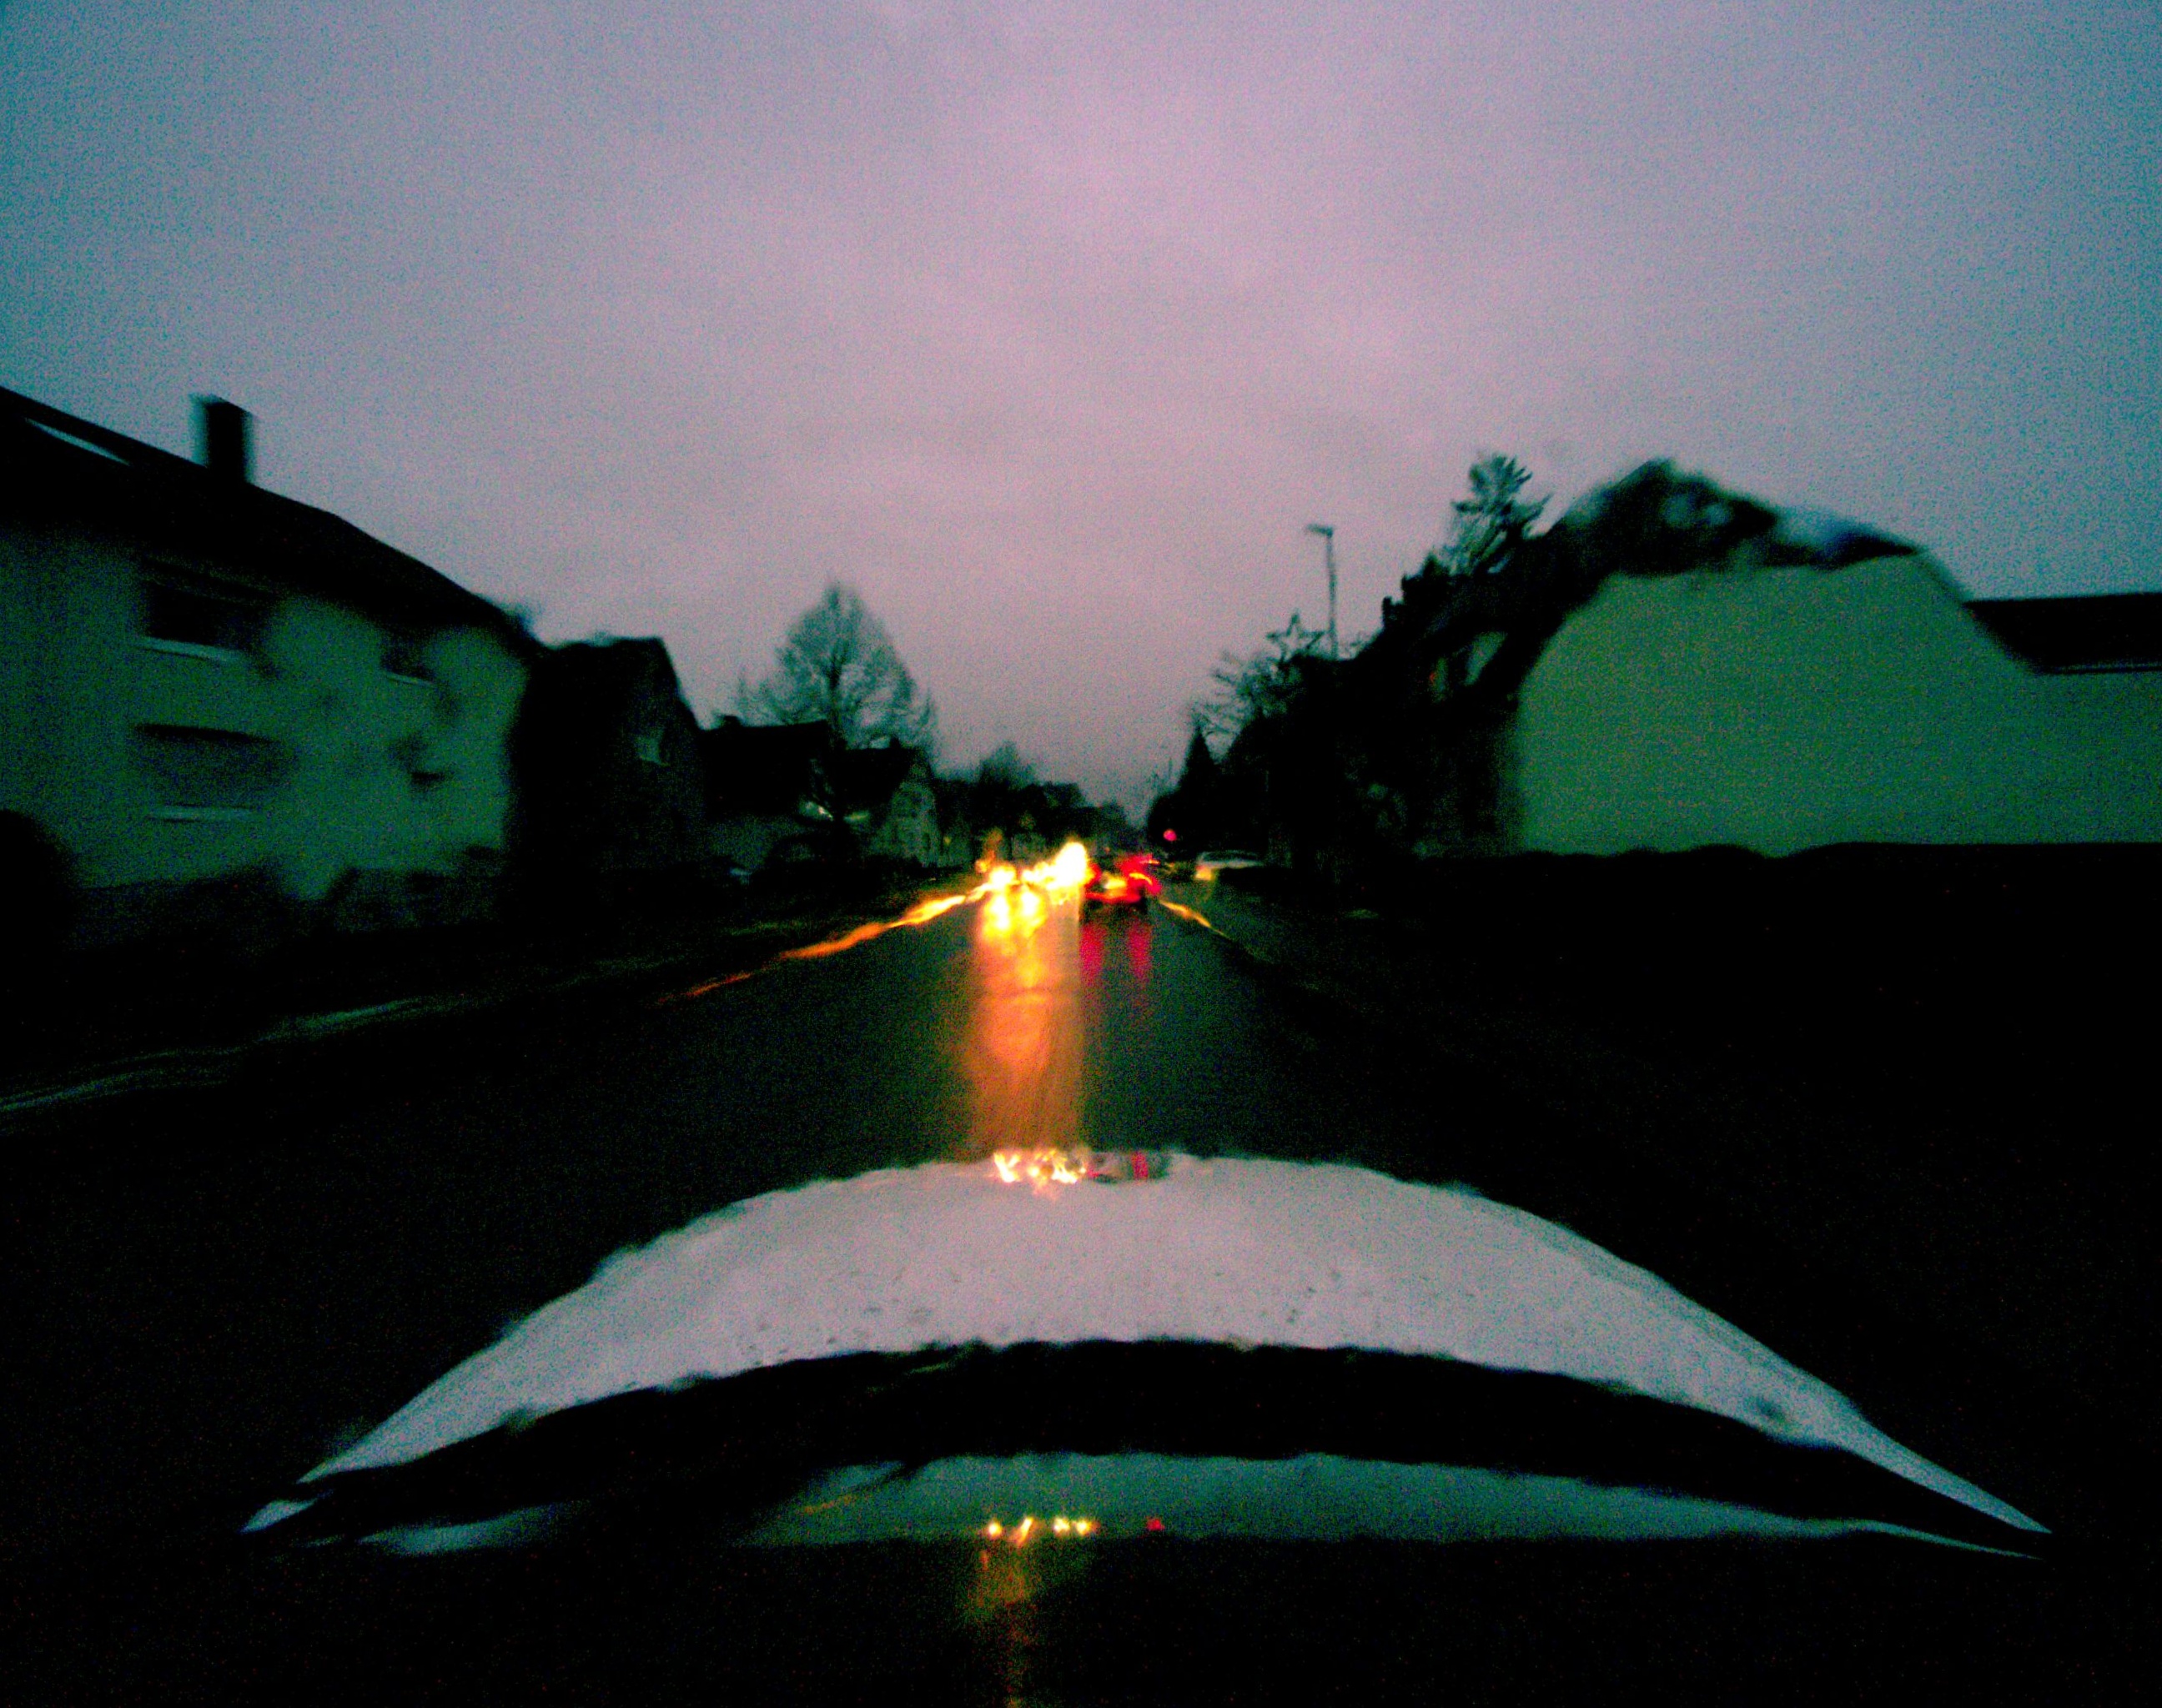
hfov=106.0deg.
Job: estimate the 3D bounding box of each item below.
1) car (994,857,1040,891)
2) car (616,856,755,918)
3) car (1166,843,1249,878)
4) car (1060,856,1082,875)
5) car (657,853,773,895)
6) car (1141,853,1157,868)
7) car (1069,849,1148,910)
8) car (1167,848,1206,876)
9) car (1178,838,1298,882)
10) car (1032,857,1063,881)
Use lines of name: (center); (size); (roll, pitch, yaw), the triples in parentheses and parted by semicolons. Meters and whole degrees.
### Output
car: (-2.947, 0.904, 38.027); (1.698, 1.441, 4.000); (-3, 0, 1)
car: (-12.497, 0.982, 26.097); (1.985, 1.756, 4.571); (-1, 0, 3)
car: (6.625, 0.349, 42.979); (4.087, 1.706, 2.000); (-1, -1, 1)
car: (-0.868, 1.034, 74.179); (1.807, 1.633, 4.225); (-2, 0, 1)
car: (-17.002, 0.924, 37.928); (4.525, 1.800, 1.916); (-2, 0, 9)
car: (9.333, 0.895, 111.797); (1.983, 2.013, 4.007); (-2, 0, 6)
car: (0.727, 0.647, 22.535); (1.987, 1.525, 4.000); (0, 0, 1)
car: (6.322, 0.455, 49.349); (1.886, 1.554, 4.758); (-2, 0, 2)
car: (6.409, 0.243, 33.772); (4.710, 1.629, 1.910); (-2, 0, 6)
car: (-2.154, 0.972, 53.372); (1.698, 1.441, 4.425); (-3, 0, 1)
